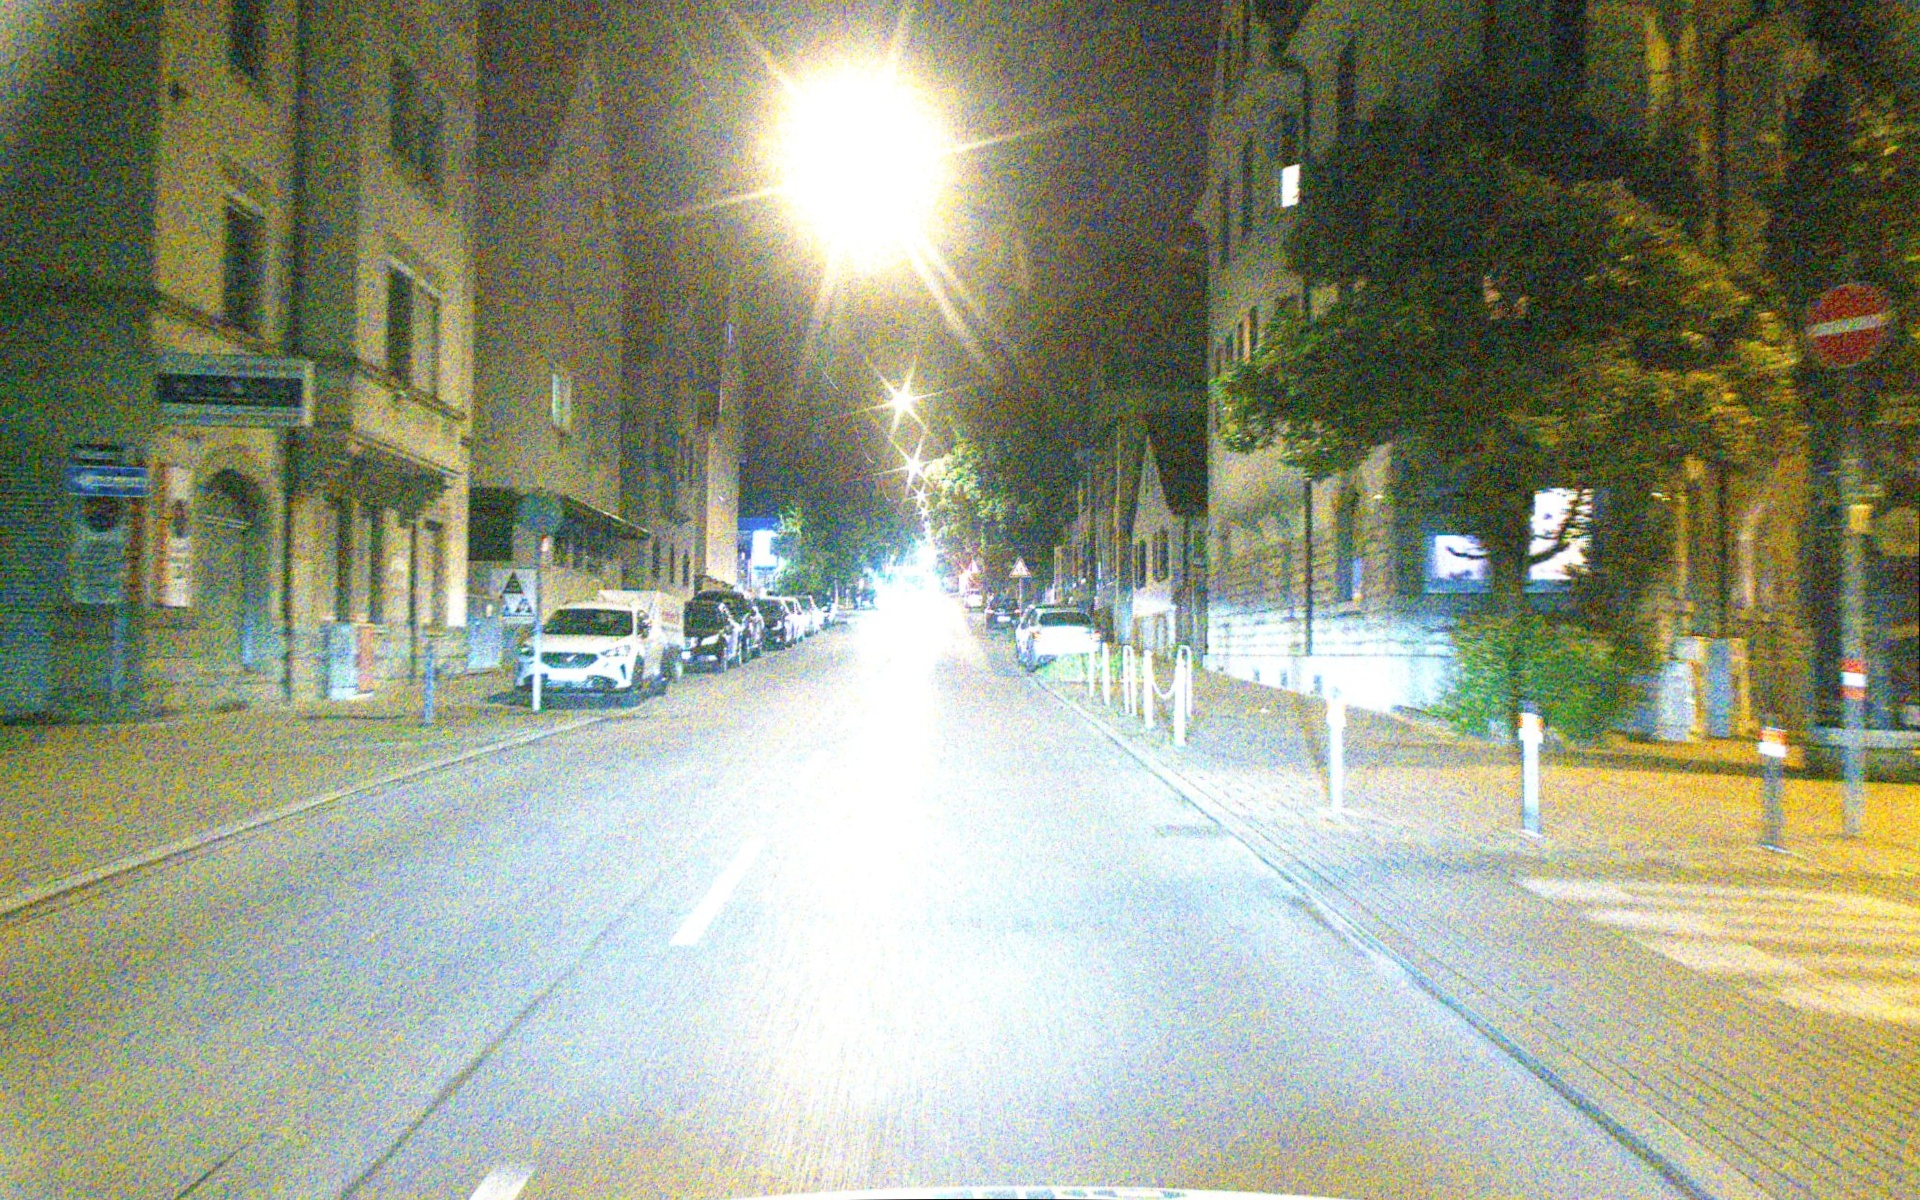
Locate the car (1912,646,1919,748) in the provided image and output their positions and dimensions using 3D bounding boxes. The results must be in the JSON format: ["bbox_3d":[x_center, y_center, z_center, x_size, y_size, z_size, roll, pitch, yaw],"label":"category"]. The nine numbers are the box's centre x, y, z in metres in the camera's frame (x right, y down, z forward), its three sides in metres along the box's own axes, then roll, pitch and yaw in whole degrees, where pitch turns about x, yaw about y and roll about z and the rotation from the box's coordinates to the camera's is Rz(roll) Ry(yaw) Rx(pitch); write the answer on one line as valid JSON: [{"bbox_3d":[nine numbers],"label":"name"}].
[{"bbox_3d":[15.300,1.421,24.396,1.767,1.442,3.822,1,0,36],"label":"car"}]

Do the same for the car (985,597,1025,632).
[{"bbox_3d":[2.106,0.661,77.743,1.727,1.502,4.080,-1,1,0],"label":"car"}]

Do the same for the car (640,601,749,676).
[{"bbox_3d":[-5.752,0.805,36.314,1.798,1.472,4.543,0,1,-2],"label":"car"}]

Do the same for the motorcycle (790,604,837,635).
[{"bbox_3d":[-5.913,0.769,66.606,0.710,1.167,2.174,-1,1,-43],"label":"motorcycle"}]

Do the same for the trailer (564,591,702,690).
[{"bbox_3d":[-5.926,0.710,30.344,1.603,1.668,3.441,1,0,4],"label":"trailer"}]

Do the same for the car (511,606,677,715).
[{"bbox_3d":[-5.613,0.879,25.869,1.778,1.510,4.346,1,0,-2],"label":"car"}]

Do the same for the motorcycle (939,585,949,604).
[{"bbox_3d":[-1.550,-0.527,159.845,0.912,1.782,2.624,1,0,-1],"label":"motorcycle"}]

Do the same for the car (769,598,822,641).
[{"bbox_3d":[-6.181,0.705,62.353,1.669,1.517,4.227,-1,1,-2],"label":"car"}]

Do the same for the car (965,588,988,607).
[{"bbox_3d":[1.368,-0.215,139.904,1.830,1.553,4.149,-1,1,-1],"label":"car"}]

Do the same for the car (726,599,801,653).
[{"bbox_3d":[-5.886,0.748,49.936,1.826,1.518,4.279,1,0,-2],"label":"car"}]

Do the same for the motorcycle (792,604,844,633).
[{"bbox_3d":[-5.886,0.758,68.626,2.162,1.150,0.714,1,1,32],"label":"motorcycle"}]

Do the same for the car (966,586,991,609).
[{"bbox_3d":[1.379,-0.213,126.562,1.775,1.622,4.273,-1,1,-1],"label":"car"}]

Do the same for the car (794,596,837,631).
[{"bbox_3d":[-6.442,0.584,73.922,1.605,1.524,2.765,1,0,1],"label":"car"}]

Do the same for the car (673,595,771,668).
[{"bbox_3d":[-5.901,0.745,41.483,1.797,1.647,4.544,1,0,0],"label":"car"}]

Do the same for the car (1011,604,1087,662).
[{"bbox_3d":[2.372,0.852,44.864,1.735,1.473,4.018,0,0,-1],"label":"car"}]

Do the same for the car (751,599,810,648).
[{"bbox_3d":[-5.898,0.749,54.620,1.589,1.518,3.779,1,0,-2],"label":"car"}]

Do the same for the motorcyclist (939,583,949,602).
[{"bbox_3d":[-1.550,-0.744,160.048,0.831,1.782,0.805,1,-1,-1],"label":"motorcyclist"}]

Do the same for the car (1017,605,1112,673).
[{"bbox_3d":[2.410,0.874,39.279,1.808,1.442,4.644,-2,0,-1],"label":"car"}]

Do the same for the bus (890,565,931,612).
[{"bbox_3d":[-3.633,-0.891,123.304,2.780,3.233,10.497,1,1,-1],"label":"bus"}]
